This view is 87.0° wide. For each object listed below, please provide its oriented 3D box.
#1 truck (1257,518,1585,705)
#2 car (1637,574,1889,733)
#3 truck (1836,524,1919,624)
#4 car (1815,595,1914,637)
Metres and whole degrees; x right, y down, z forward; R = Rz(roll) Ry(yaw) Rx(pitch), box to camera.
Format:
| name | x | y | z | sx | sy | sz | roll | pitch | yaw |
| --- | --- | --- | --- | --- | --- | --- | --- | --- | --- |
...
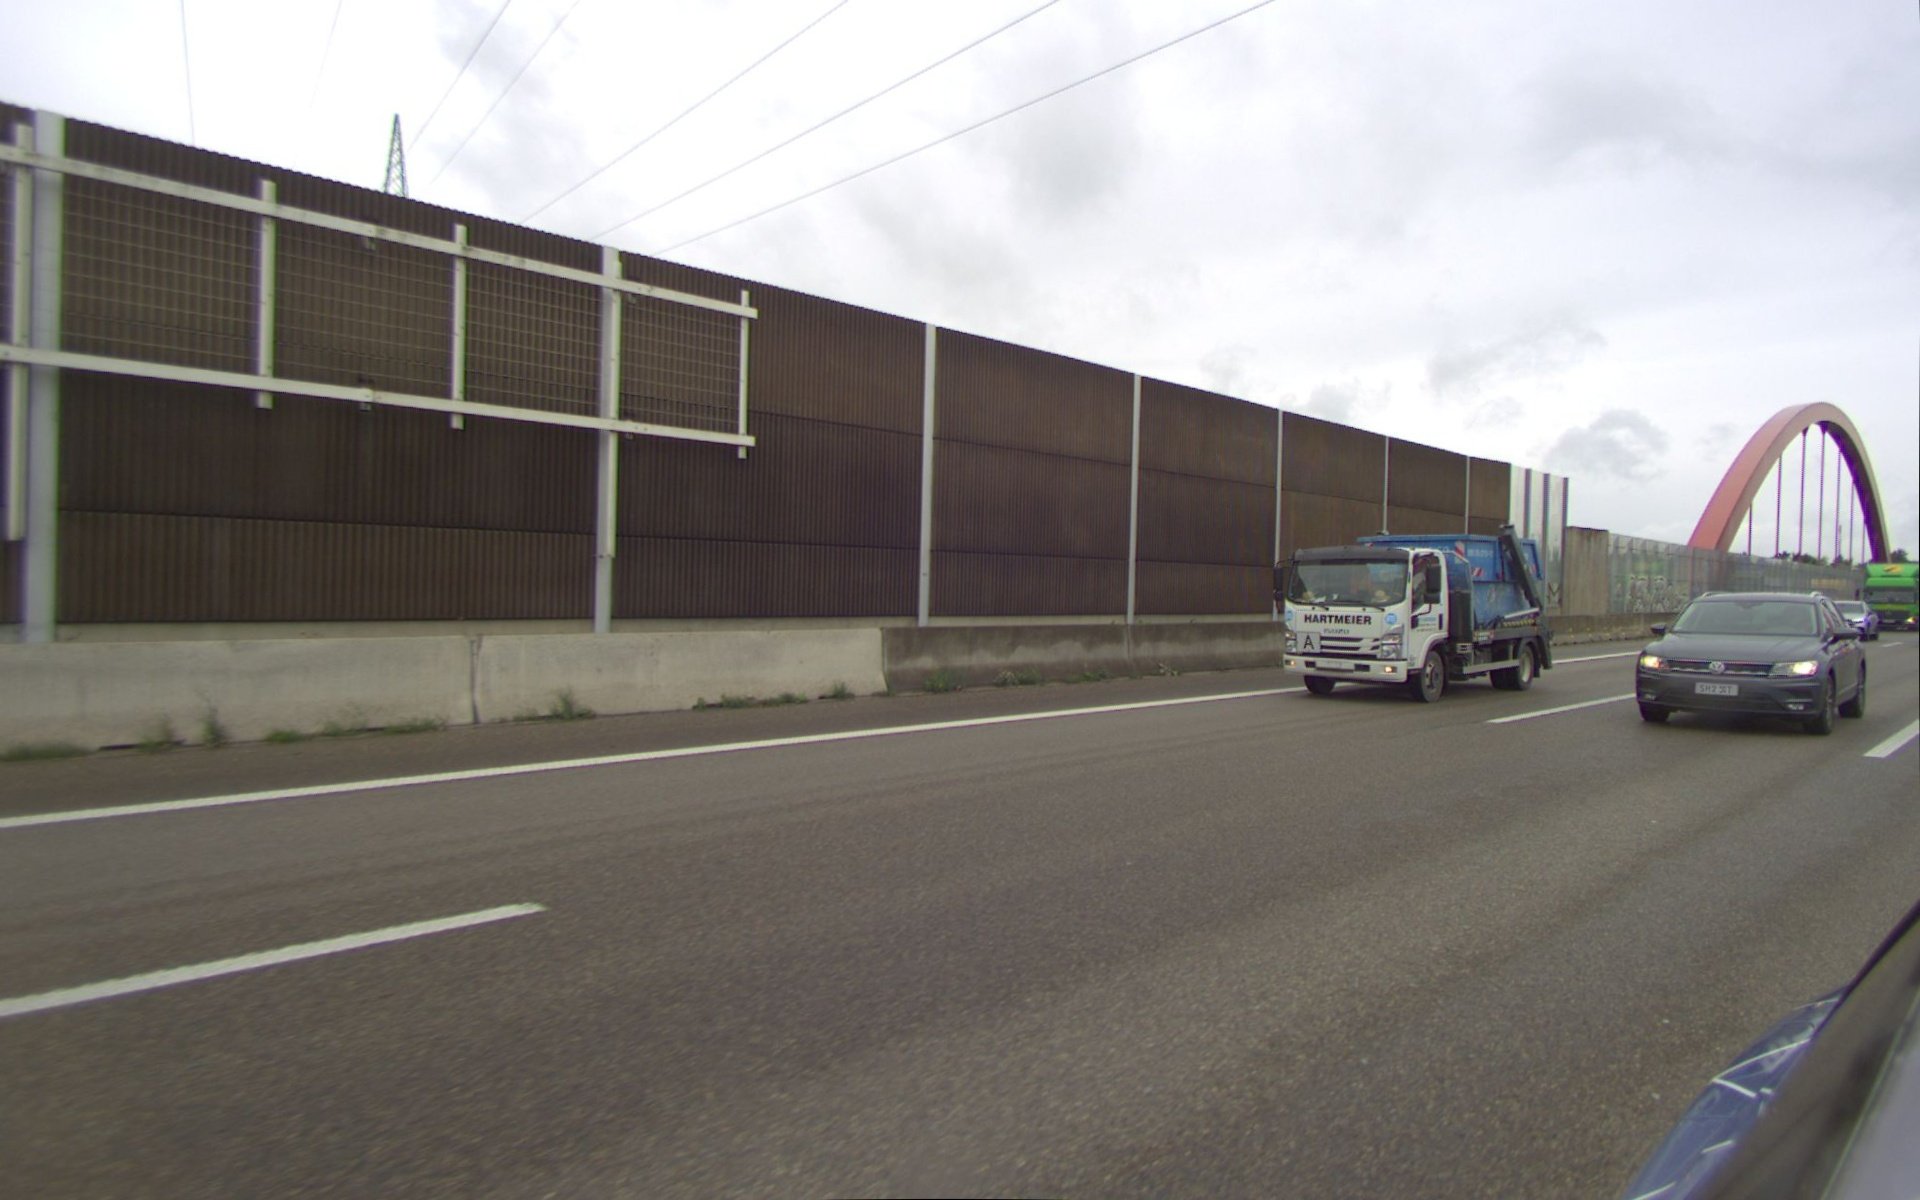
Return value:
| name | x | y | z | sx | sy | sz | roll | pitch | yaw |
| --- | --- | --- | --- | --- | --- | --- | --- | --- | --- |
| truck | 7.681 | 0.070 | 16.526 | 6.032 | 2.537 | 2.367 | -2 | 1 | -38 |
| car | 10.282 | 0.562 | 12.852 | 4.034 | 1.691 | 1.914 | 0 | 0 | -43 |
| truck | 54.454 | -1.412 | 58.738 | 11.024 | 5.332 | 4.004 | 0 | 0 | -41 |
| car | 37.618 | 0.613 | 42.043 | 5.228 | 1.640 | 1.999 | 0 | 0 | -36 |
